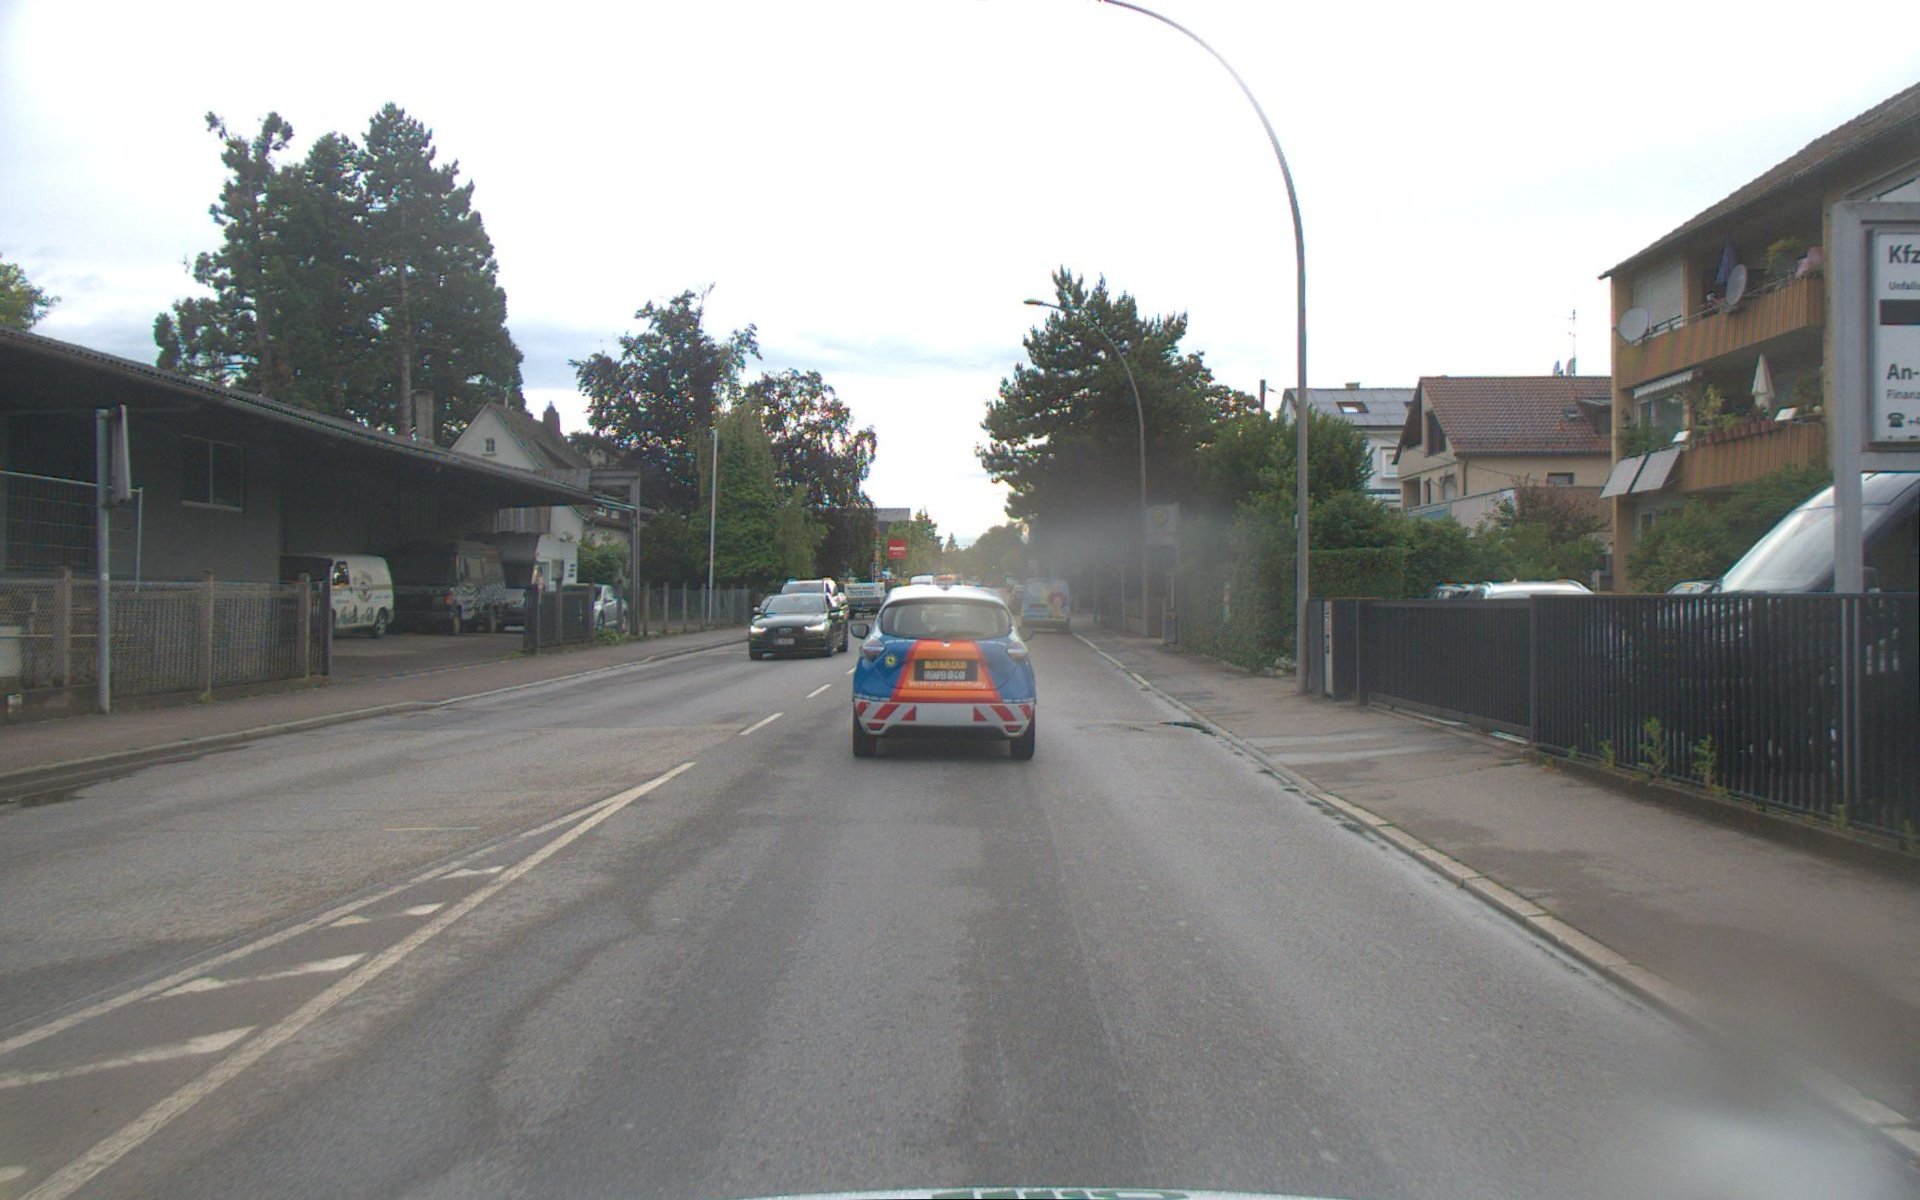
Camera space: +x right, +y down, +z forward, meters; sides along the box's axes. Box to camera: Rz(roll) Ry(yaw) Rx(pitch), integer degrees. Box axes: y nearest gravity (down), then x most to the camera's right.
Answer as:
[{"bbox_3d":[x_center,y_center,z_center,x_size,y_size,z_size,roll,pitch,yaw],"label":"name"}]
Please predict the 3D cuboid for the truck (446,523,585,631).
[{"bbox_3d":[-13.272,-0.616,49.841,2.345,2.978,5.957,2,-1,1],"label":"truck"}]

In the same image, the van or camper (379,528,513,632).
[{"bbox_3d":[-13.607,-0.455,44.120,1.821,2.480,5.232,3,-2,0],"label":"van or camper"}]

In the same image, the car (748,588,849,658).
[{"bbox_3d":[-3.695,0.574,38.549,1.706,1.477,4.543,2,-2,2],"label":"car"}]

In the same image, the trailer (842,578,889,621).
[{"bbox_3d":[-4.910,0.013,86.625,2.175,2.049,4.435,2,-2,0],"label":"trailer"}]

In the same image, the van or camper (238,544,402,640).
[{"bbox_3d":[-14.297,-0.172,37.237,1.953,1.942,4.471,2,0,-1],"label":"van or camper"}]

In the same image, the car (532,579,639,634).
[{"bbox_3d":[-10.783,0.197,47.971,1.896,1.469,4.783,1,0,1],"label":"car"}]

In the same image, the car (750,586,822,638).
[{"bbox_3d":[-5.524,0.418,53.052,1.706,1.506,4.184,-2,-2,2],"label":"car"}]

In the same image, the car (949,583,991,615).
[{"bbox_3d":[0.527,-0.091,83.994,1.952,1.444,4.002,-2,2,3],"label":"car"}]

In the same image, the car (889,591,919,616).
[{"bbox_3d":[-3.953,0.282,117.585,1.953,1.624,3.999,2,-2,0],"label":"car"}]

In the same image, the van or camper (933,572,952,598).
[{"bbox_3d":[-1.900,-1.699,181.726,1.953,2.823,5.440,0,0,0],"label":"van or camper"}]

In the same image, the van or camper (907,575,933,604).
[{"bbox_3d":[-3.381,-0.906,141.462,2.117,2.394,4.333,0,0,0],"label":"van or camper"}]

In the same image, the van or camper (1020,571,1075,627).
[{"bbox_3d":[3.025,-0.051,58.068,1.718,1.916,4.000,0,0,0],"label":"van or camper"}]

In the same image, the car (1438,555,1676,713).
[{"bbox_3d":[7.360,0.459,20.939,2.076,1.679,5.239,2,-2,12],"label":"car"}]

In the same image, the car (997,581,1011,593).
[{"bbox_3d":[6.219,-1.808,233.047,1.953,1.613,4.000,0,1,0],"label":"car"}]

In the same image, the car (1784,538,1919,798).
[{"bbox_3d":[6.682,0.432,9.721,1.627,1.594,4.568,2,-2,4],"label":"car"}]

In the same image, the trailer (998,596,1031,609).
[{"bbox_3d":[3.295,0.139,100.145,1.898,0.767,2.859,0,1,0],"label":"trailer"}]

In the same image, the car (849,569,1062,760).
[{"bbox_3d":[-0.066,0.540,16.421,1.850,1.660,3.999,0,0,-1],"label":"car"}]

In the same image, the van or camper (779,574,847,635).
[{"bbox_3d":[-5.315,0.213,60.410,1.851,2.049,5.097,2,-2,1],"label":"van or camper"}]

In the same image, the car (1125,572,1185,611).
[{"bbox_3d":[7.795,-0.341,66.477,1.952,1.512,4.000,0,1,0],"label":"car"}]

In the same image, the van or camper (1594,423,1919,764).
[{"bbox_3d":[8.458,0.018,13.462,5.782,2.529,2.132,1,-2,1],"label":"van or camper"}]
